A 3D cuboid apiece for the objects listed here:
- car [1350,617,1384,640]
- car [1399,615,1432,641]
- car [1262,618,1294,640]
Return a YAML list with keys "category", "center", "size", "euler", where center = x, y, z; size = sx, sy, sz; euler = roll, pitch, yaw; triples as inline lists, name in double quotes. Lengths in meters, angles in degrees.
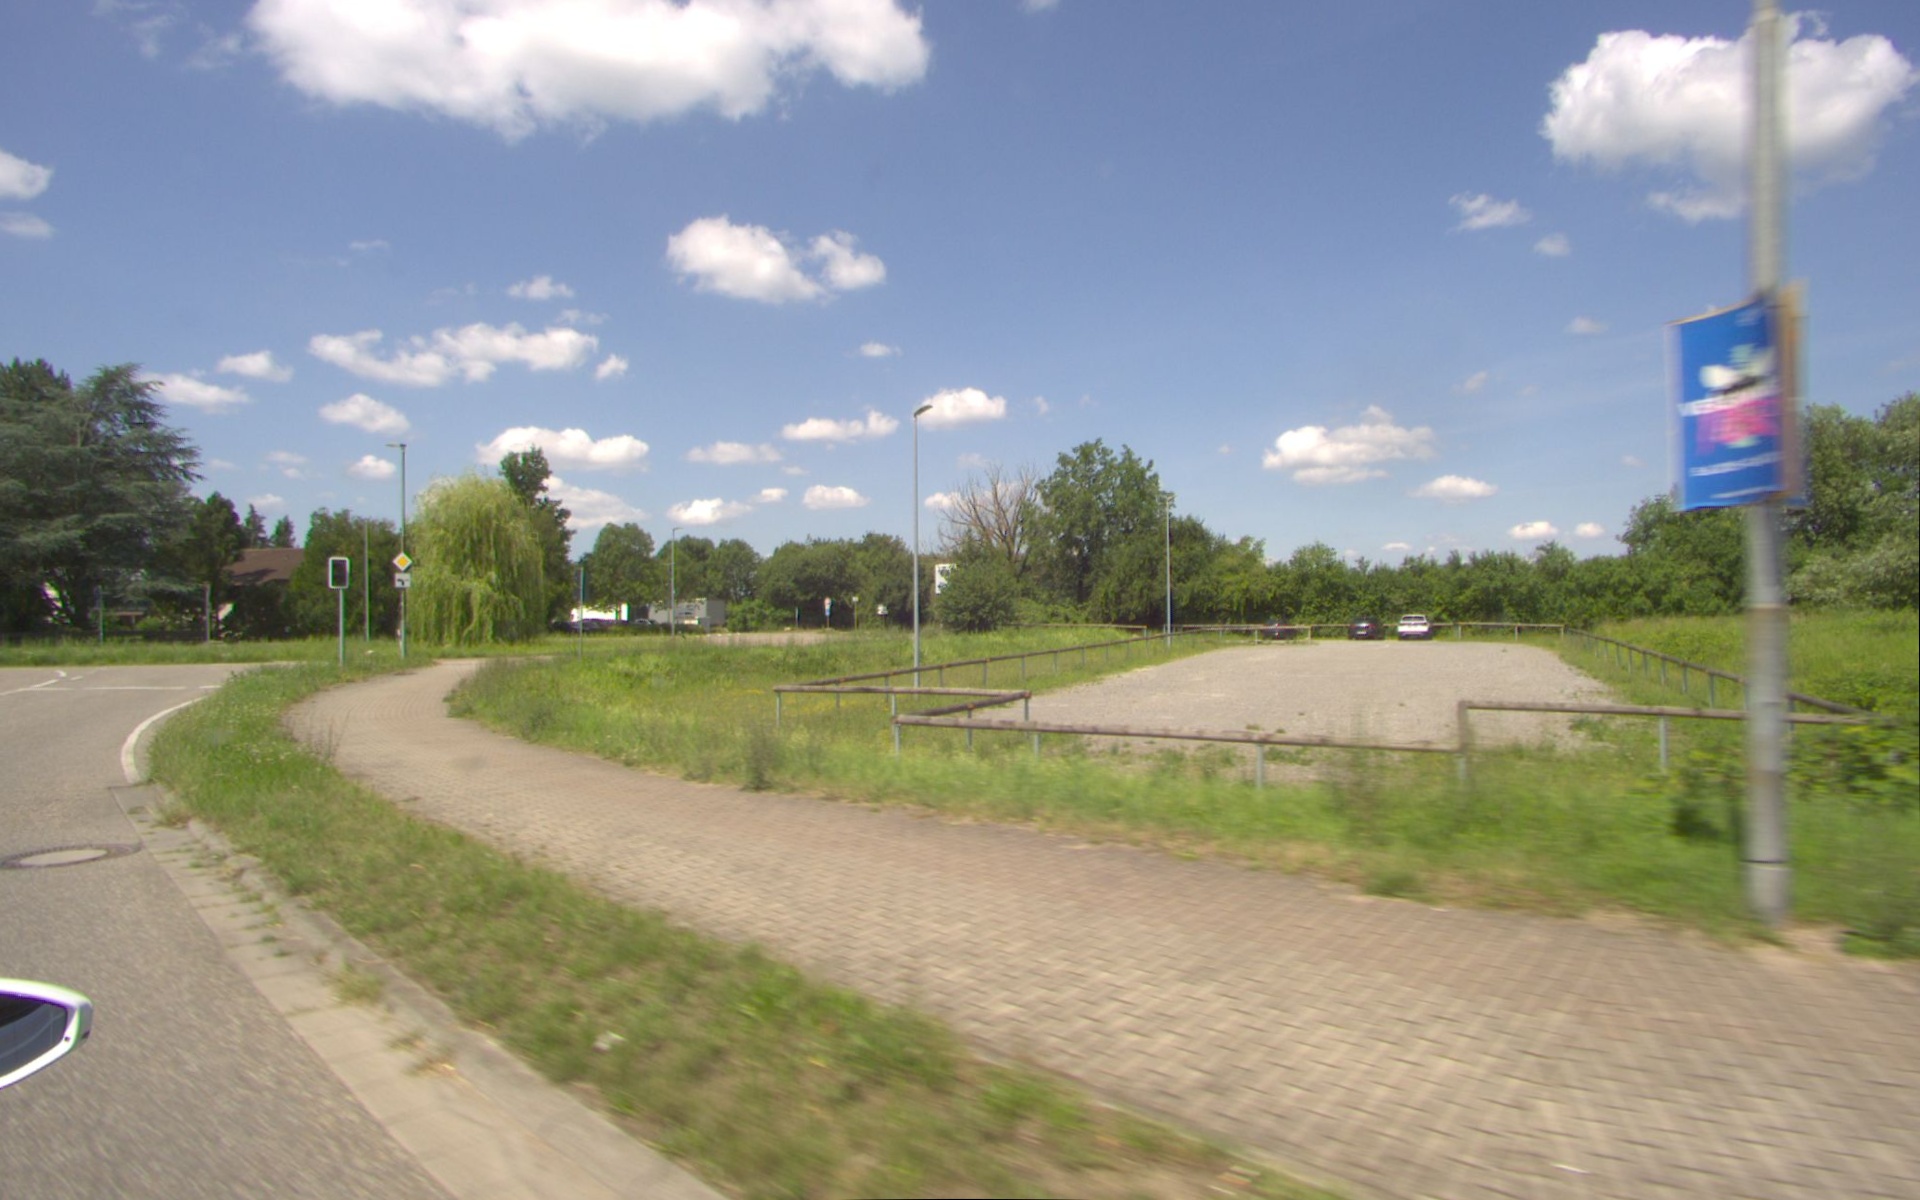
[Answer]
- category: "car"
  center: [25.232, 1.797, 62.026]
  size: [1.399, 1.354, 3.103]
  euler: [-1, -3, 32]
- category: "car"
  center: [27.683, 1.745, 60.808]
  size: [1.398, 1.523, 3.103]
  euler: [-1, -3, 32]
- category: "car"
  center: [20.728, 1.910, 65.215]
  size: [1.397, 1.354, 3.106]
  euler: [-1, -3, 29]
